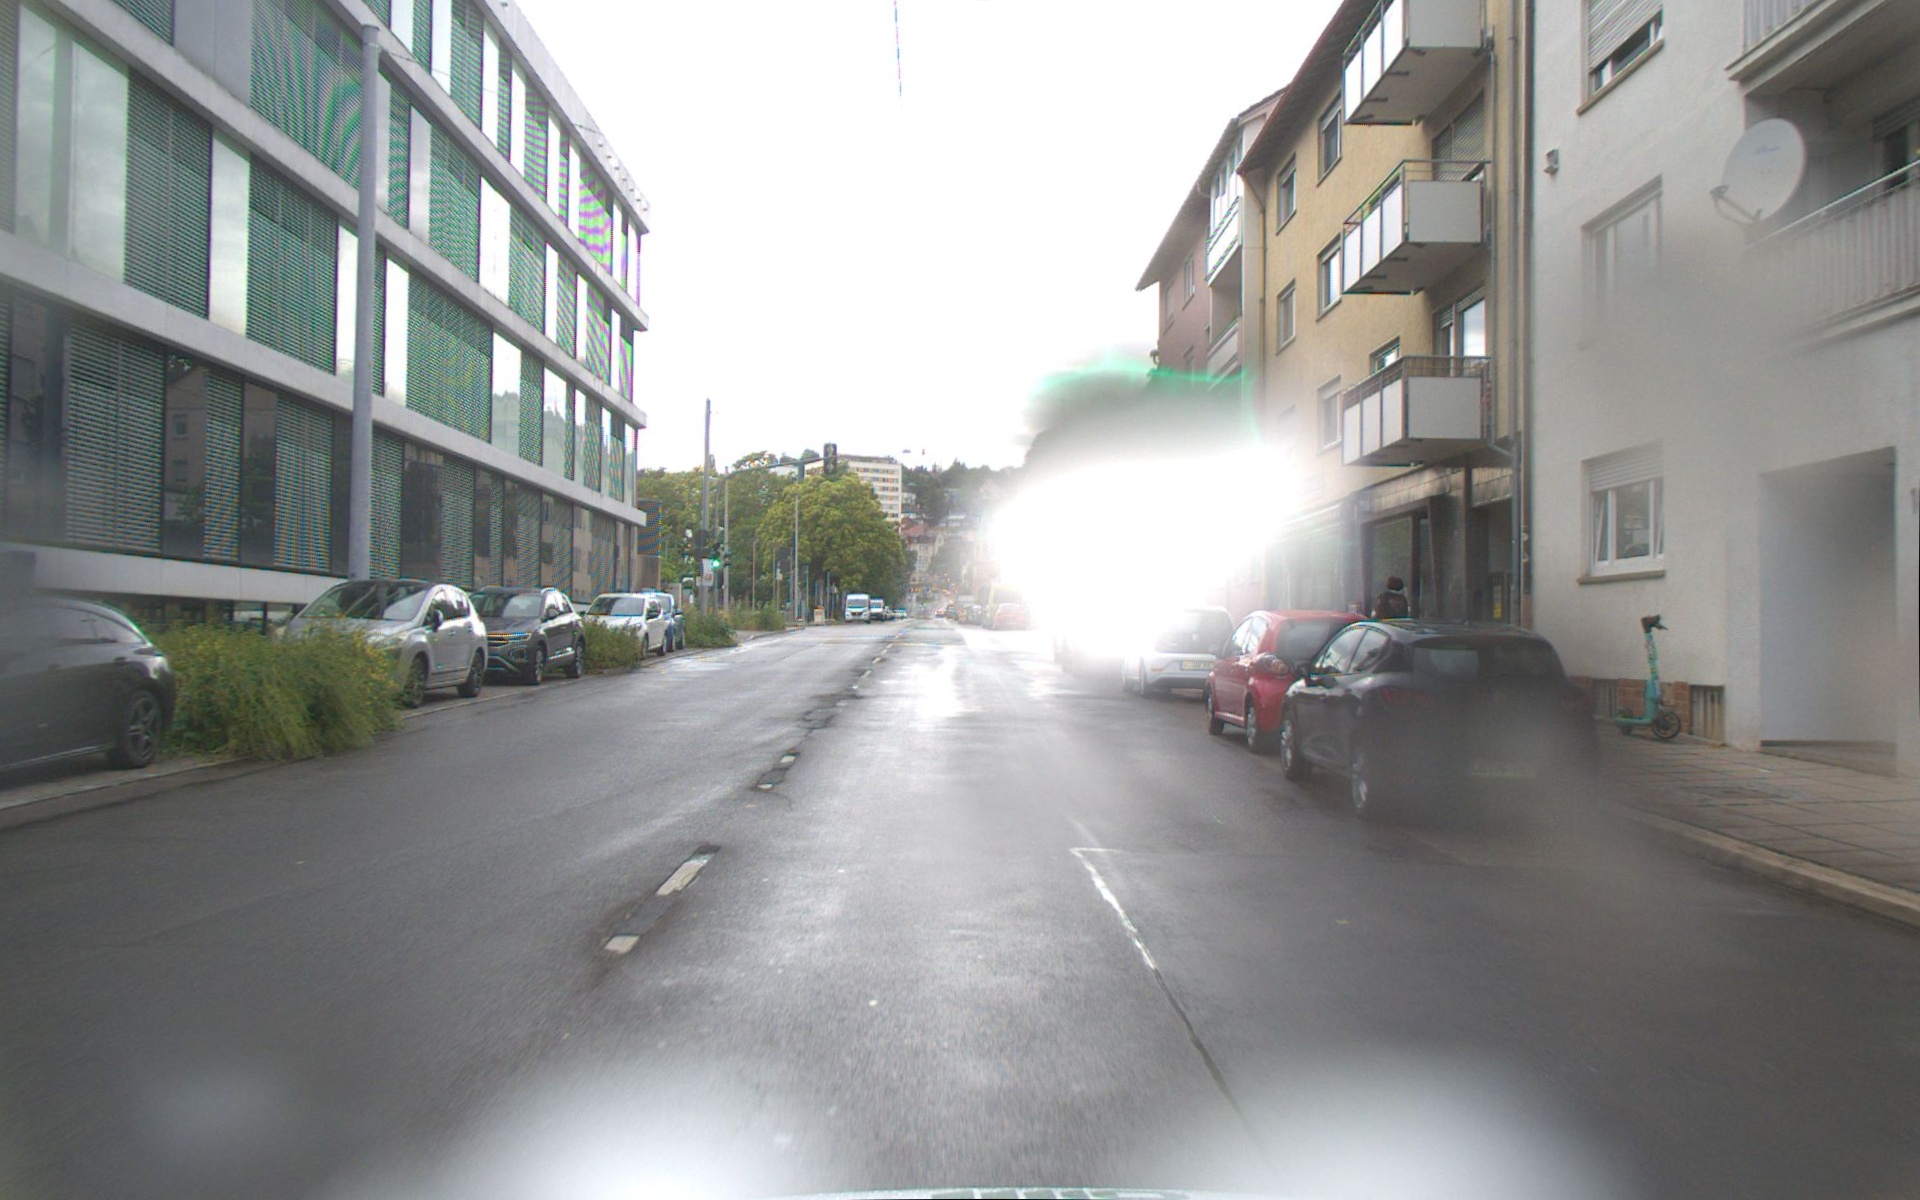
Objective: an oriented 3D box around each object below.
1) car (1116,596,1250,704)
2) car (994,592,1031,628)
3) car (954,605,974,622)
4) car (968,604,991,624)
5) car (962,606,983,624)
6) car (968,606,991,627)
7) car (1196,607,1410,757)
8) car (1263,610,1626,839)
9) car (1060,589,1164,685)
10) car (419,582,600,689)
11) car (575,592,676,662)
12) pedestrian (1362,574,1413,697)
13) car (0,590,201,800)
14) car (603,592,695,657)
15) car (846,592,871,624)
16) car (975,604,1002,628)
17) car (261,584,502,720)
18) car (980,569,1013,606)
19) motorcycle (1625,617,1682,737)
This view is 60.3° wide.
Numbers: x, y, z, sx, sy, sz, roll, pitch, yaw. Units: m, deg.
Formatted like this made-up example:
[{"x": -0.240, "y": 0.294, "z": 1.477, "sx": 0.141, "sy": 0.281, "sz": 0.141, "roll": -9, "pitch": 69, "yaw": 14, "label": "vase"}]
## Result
[{"x": 3.609, "y": 0.768, "z": 27.329, "sx": 1.602, "sy": 1.598, "sz": 3.710, "roll": 2, "pitch": 0, "yaw": -1, "label": "car"}, {"x": 2.712, "y": 0.504, "z": 85.593, "sx": 1.828, "sy": 1.801, "sz": 4.190, "roll": 2, "pitch": 0, "yaw": 2, "label": "car"}, {"x": 0.379, "y": 1.344, "z": 163.777, "sx": 1.828, "sy": 1.632, "sz": 4.190, "roll": 2, "pitch": 0, "yaw": 2, "label": "car"}, {"x": 1.718, "y": 1.246, "z": 145.307, "sx": 1.828, "sy": 1.632, "sz": 4.190, "roll": 2, "pitch": 0, "yaw": 2, "label": "car"}, {"x": 1.152, "y": 1.424, "z": 155.620, "sx": 1.828, "sy": 1.632, "sz": 4.190, "roll": 2, "pitch": 0, "yaw": 2, "label": "car"}, {"x": 1.698, "y": 1.380, "z": 140.271, "sx": 1.828, "sy": 1.632, "sz": 4.190, "roll": 2, "pitch": 0, "yaw": 2, "label": "car"}, {"x": 3.750, "y": 0.838, "z": 18.643, "sx": 1.550, "sy": 1.438, "sz": 3.653, "roll": 2, "pitch": 0, "yaw": -1, "label": "car"}, {"x": 3.717, "y": 0.873, "z": 13.422, "sx": 1.672, "sy": 1.479, "sz": 3.984, "roll": 2, "pitch": 0, "yaw": -1, "label": "car"}, {"x": 3.061, "y": 0.694, "z": 34.001, "sx": 1.621, "sy": 1.768, "sz": 4.179, "roll": 1, "pitch": 1, "yaw": -1, "label": "car"}, {"x": -7.572, "y": 0.568, "z": 28.219, "sx": 1.764, "sy": 1.632, "sz": 4.235, "roll": 2, "pitch": 0, "yaw": 2, "label": "car"}, {"x": -7.860, "y": 0.602, "z": 39.136, "sx": 1.562, "sy": 1.485, "sz": 3.719, "roll": 2, "pitch": 1, "yaw": 1, "label": "car"}, {"x": 6.747, "y": 0.552, "z": 26.126, "sx": 0.626, "sy": 1.903, "sz": 0.538, "roll": 2, "pitch": 0, "yaw": 1, "label": "pedestrian"}, {"x": -7.613, "y": 0.663, "z": 12.385, "sx": 1.800, "sy": 1.420, "sz": 4.392, "roll": 2, "pitch": 0, "yaw": 0, "label": "car"}, {"x": -8.298, "y": 0.607, "z": 44.452, "sx": 1.830, "sy": 1.552, "sz": 4.194, "roll": 2, "pitch": 1, "yaw": -3, "label": "car"}, {"x": -8.645, "y": 0.662, "z": 140.998, "sx": 2.063, "sy": 2.591, "sz": 4.748, "roll": 2, "pitch": 0, "yaw": -3, "label": "car"}, {"x": 2.121, "y": 1.155, "z": 120.919, "sx": 1.828, "sy": 1.632, "sz": 4.190, "roll": 2, "pitch": 0, "yaw": 2, "label": "car"}, {"x": -7.582, "y": 0.605, "z": 22.136, "sx": 1.735, "sy": 1.561, "sz": 4.316, "roll": 2, "pitch": 1, "yaw": -1, "label": "car"}, {"x": 2.116, "y": -0.723, "z": 94.727, "sx": 1.828, "sy": 2.007, "sz": 4.190, "roll": 2, "pitch": 0, "yaw": 2, "label": "car"}, {"x": 7.065, "y": 0.771, "z": 16.861, "sx": 0.247, "sy": 1.185, "sz": 0.781, "roll": 2, "pitch": 0, "yaw": 2, "label": "motorcycle"}]
